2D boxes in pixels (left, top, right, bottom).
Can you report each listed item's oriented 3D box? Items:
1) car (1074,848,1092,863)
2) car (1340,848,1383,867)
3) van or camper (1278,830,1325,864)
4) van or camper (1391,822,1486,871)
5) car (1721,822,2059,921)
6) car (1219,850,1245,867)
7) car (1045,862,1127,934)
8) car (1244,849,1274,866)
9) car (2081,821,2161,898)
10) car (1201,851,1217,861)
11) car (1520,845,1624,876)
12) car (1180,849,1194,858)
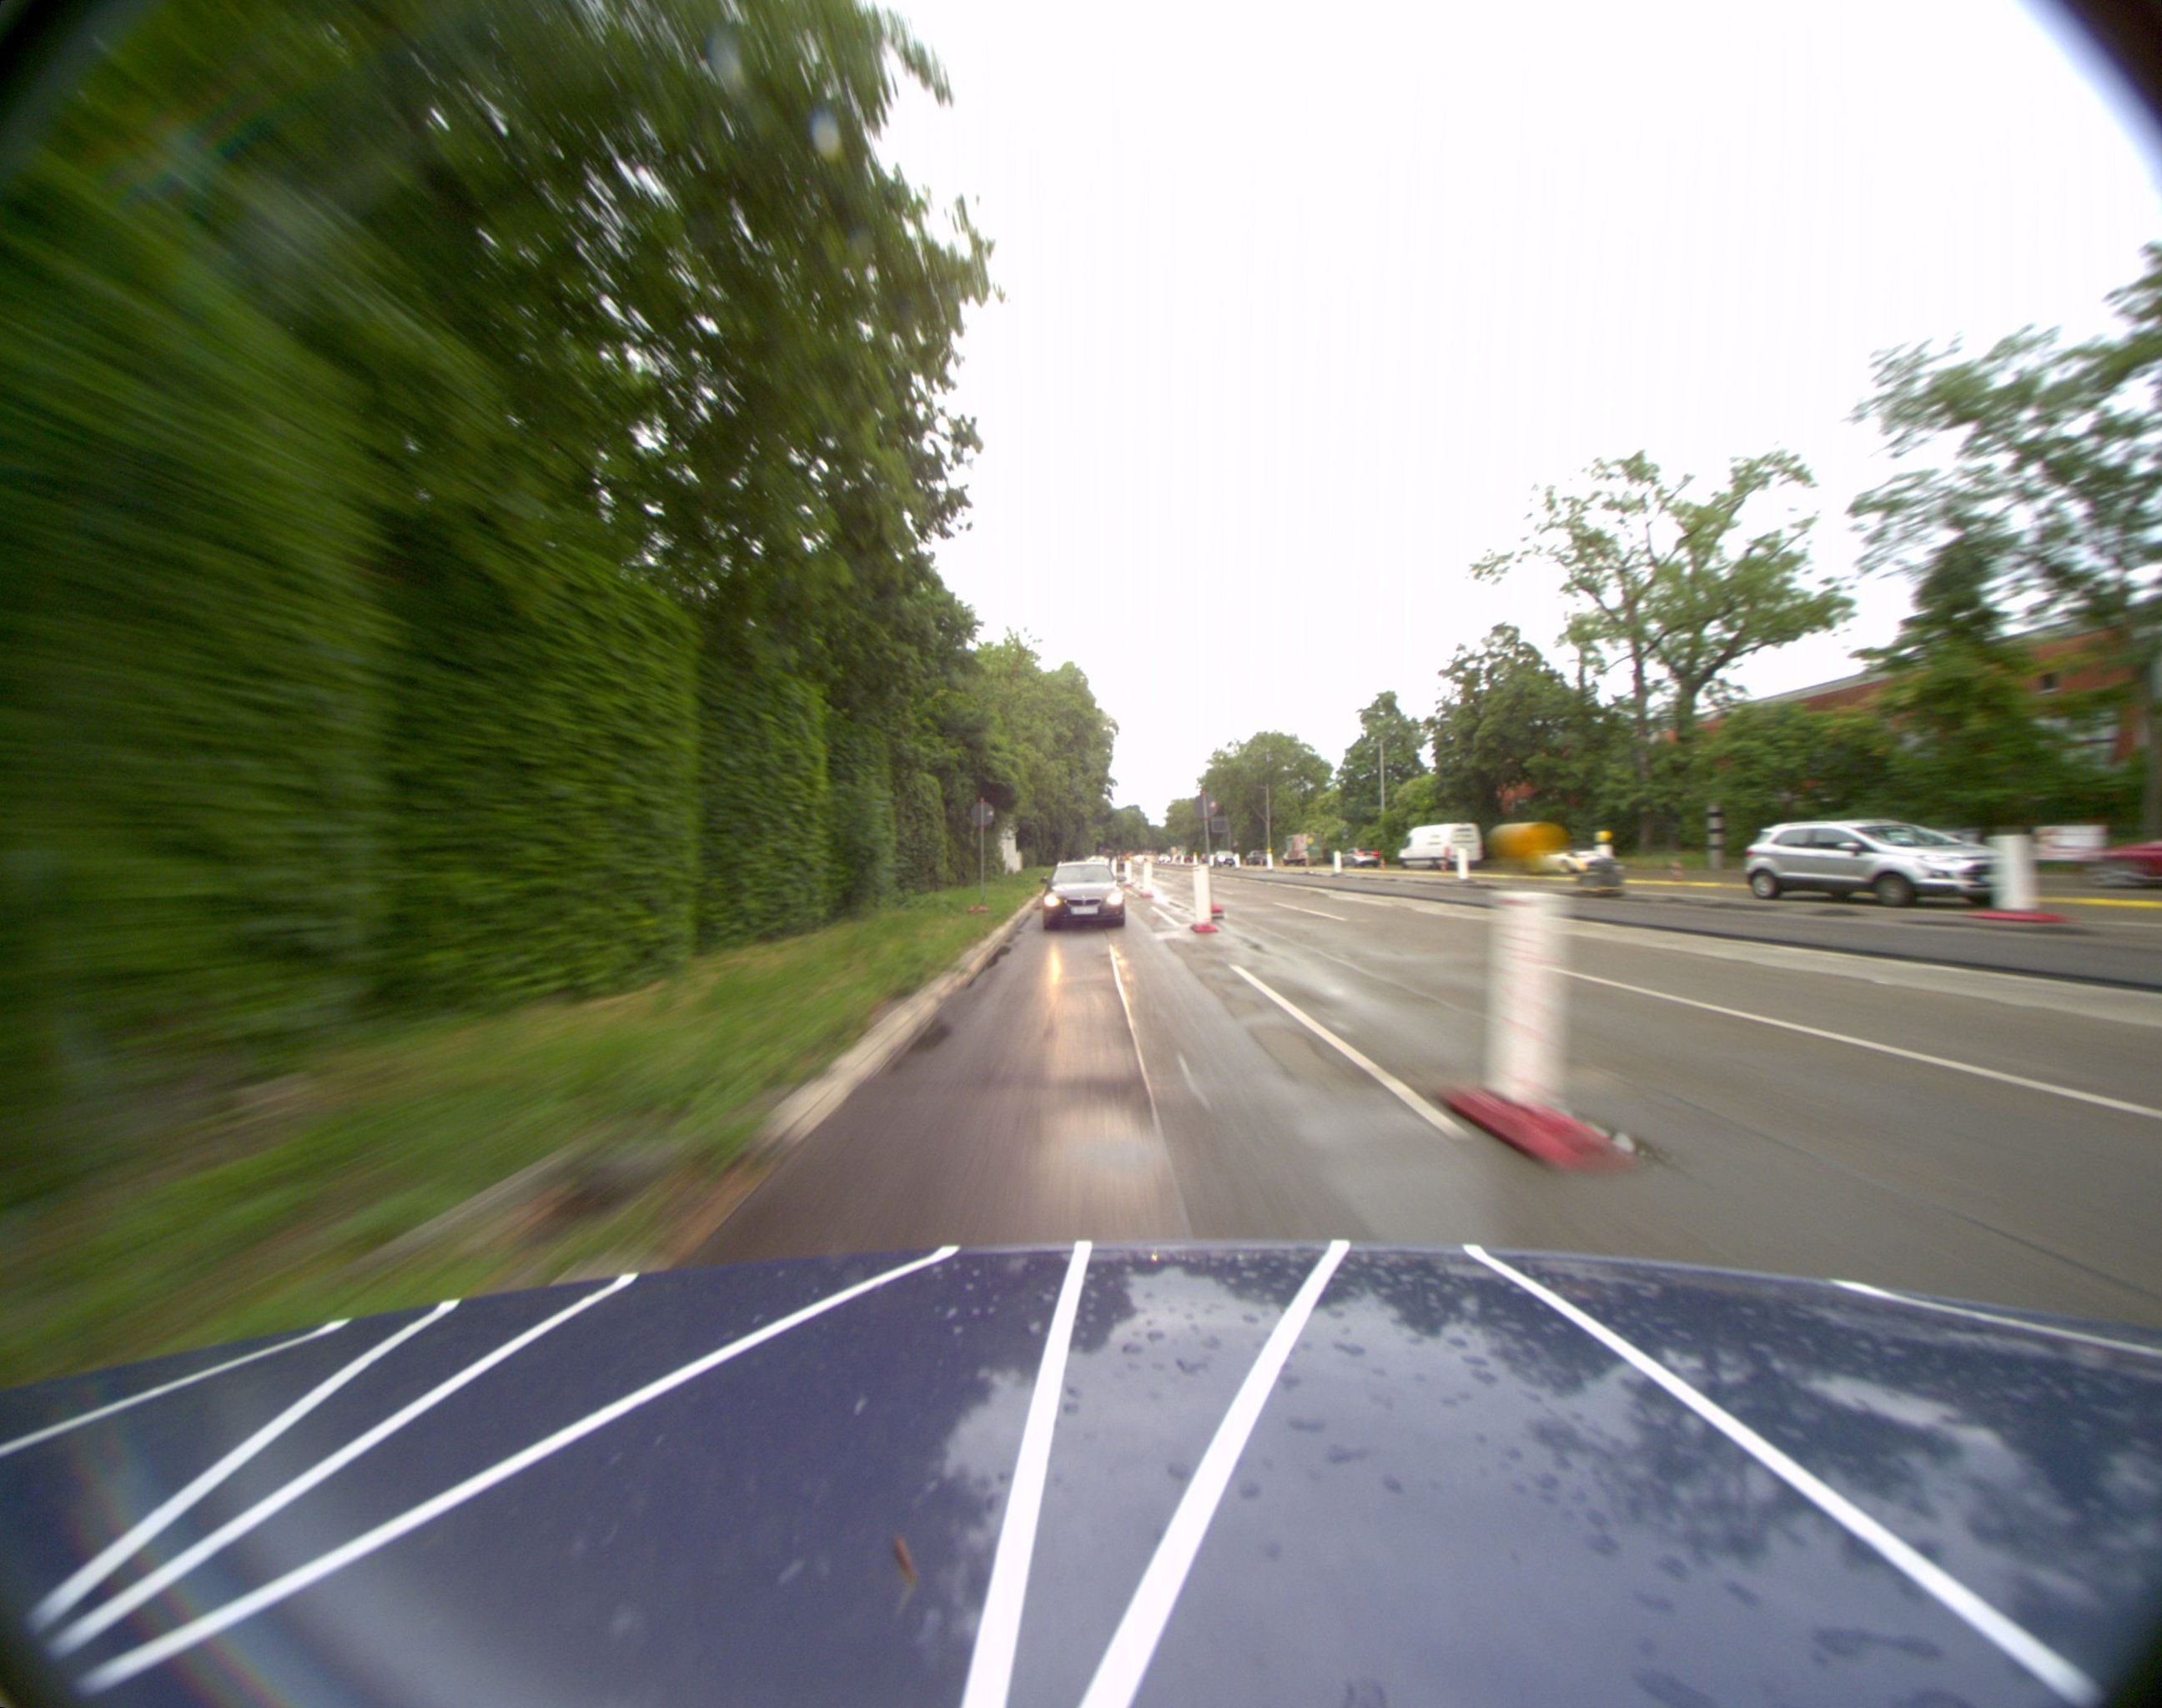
[{"bbox_3d":[0.259,0.205,92.136,1.998,1.707,4.000,-1,1,2],"label":"car"},{"bbox_3d":[20.983,0.234,57.023,1.720,1.357,4.081,-2,0,0],"label":"car"},{"bbox_3d":[21.391,-0.683,74.059,2.303,3.045,7.451,-2,0,0],"label":"van or camper"},{"bbox_3d":[21.208,-0.408,45.573,1.998,2.540,7.729,-4,0,1],"label":"van or camper"},{"bbox_3d":[15.365,0.299,14.884,1.893,1.555,4.363,-3,0,0],"label":"car"},{"bbox_3d":[15.898,0.440,80.309,1.998,1.619,4.813,-3,0,3],"label":"car"},{"bbox_3d":[0.103,0.934,17.725,1.658,1.409,4.129,-1,0,0],"label":"car"},{"bbox_3d":[18.676,0.343,79.992,1.998,1.684,4.807,-1,0,0],"label":"car"},{"bbox_3d":[21.508,0.075,13.436,1.733,1.467,4.487,-2,0,0],"label":"car"},{"bbox_3d":[18.858,0.304,112.061,1.691,1.434,4.108,-3,0,2],"label":"car"},{"bbox_3d":[21.173,0.270,32.951,1.693,1.176,3.999,-4,0,-3],"label":"car"},{"bbox_3d":[19.699,-0.013,140.877,1.893,1.543,4.398,-3,0,0],"label":"car"}]
